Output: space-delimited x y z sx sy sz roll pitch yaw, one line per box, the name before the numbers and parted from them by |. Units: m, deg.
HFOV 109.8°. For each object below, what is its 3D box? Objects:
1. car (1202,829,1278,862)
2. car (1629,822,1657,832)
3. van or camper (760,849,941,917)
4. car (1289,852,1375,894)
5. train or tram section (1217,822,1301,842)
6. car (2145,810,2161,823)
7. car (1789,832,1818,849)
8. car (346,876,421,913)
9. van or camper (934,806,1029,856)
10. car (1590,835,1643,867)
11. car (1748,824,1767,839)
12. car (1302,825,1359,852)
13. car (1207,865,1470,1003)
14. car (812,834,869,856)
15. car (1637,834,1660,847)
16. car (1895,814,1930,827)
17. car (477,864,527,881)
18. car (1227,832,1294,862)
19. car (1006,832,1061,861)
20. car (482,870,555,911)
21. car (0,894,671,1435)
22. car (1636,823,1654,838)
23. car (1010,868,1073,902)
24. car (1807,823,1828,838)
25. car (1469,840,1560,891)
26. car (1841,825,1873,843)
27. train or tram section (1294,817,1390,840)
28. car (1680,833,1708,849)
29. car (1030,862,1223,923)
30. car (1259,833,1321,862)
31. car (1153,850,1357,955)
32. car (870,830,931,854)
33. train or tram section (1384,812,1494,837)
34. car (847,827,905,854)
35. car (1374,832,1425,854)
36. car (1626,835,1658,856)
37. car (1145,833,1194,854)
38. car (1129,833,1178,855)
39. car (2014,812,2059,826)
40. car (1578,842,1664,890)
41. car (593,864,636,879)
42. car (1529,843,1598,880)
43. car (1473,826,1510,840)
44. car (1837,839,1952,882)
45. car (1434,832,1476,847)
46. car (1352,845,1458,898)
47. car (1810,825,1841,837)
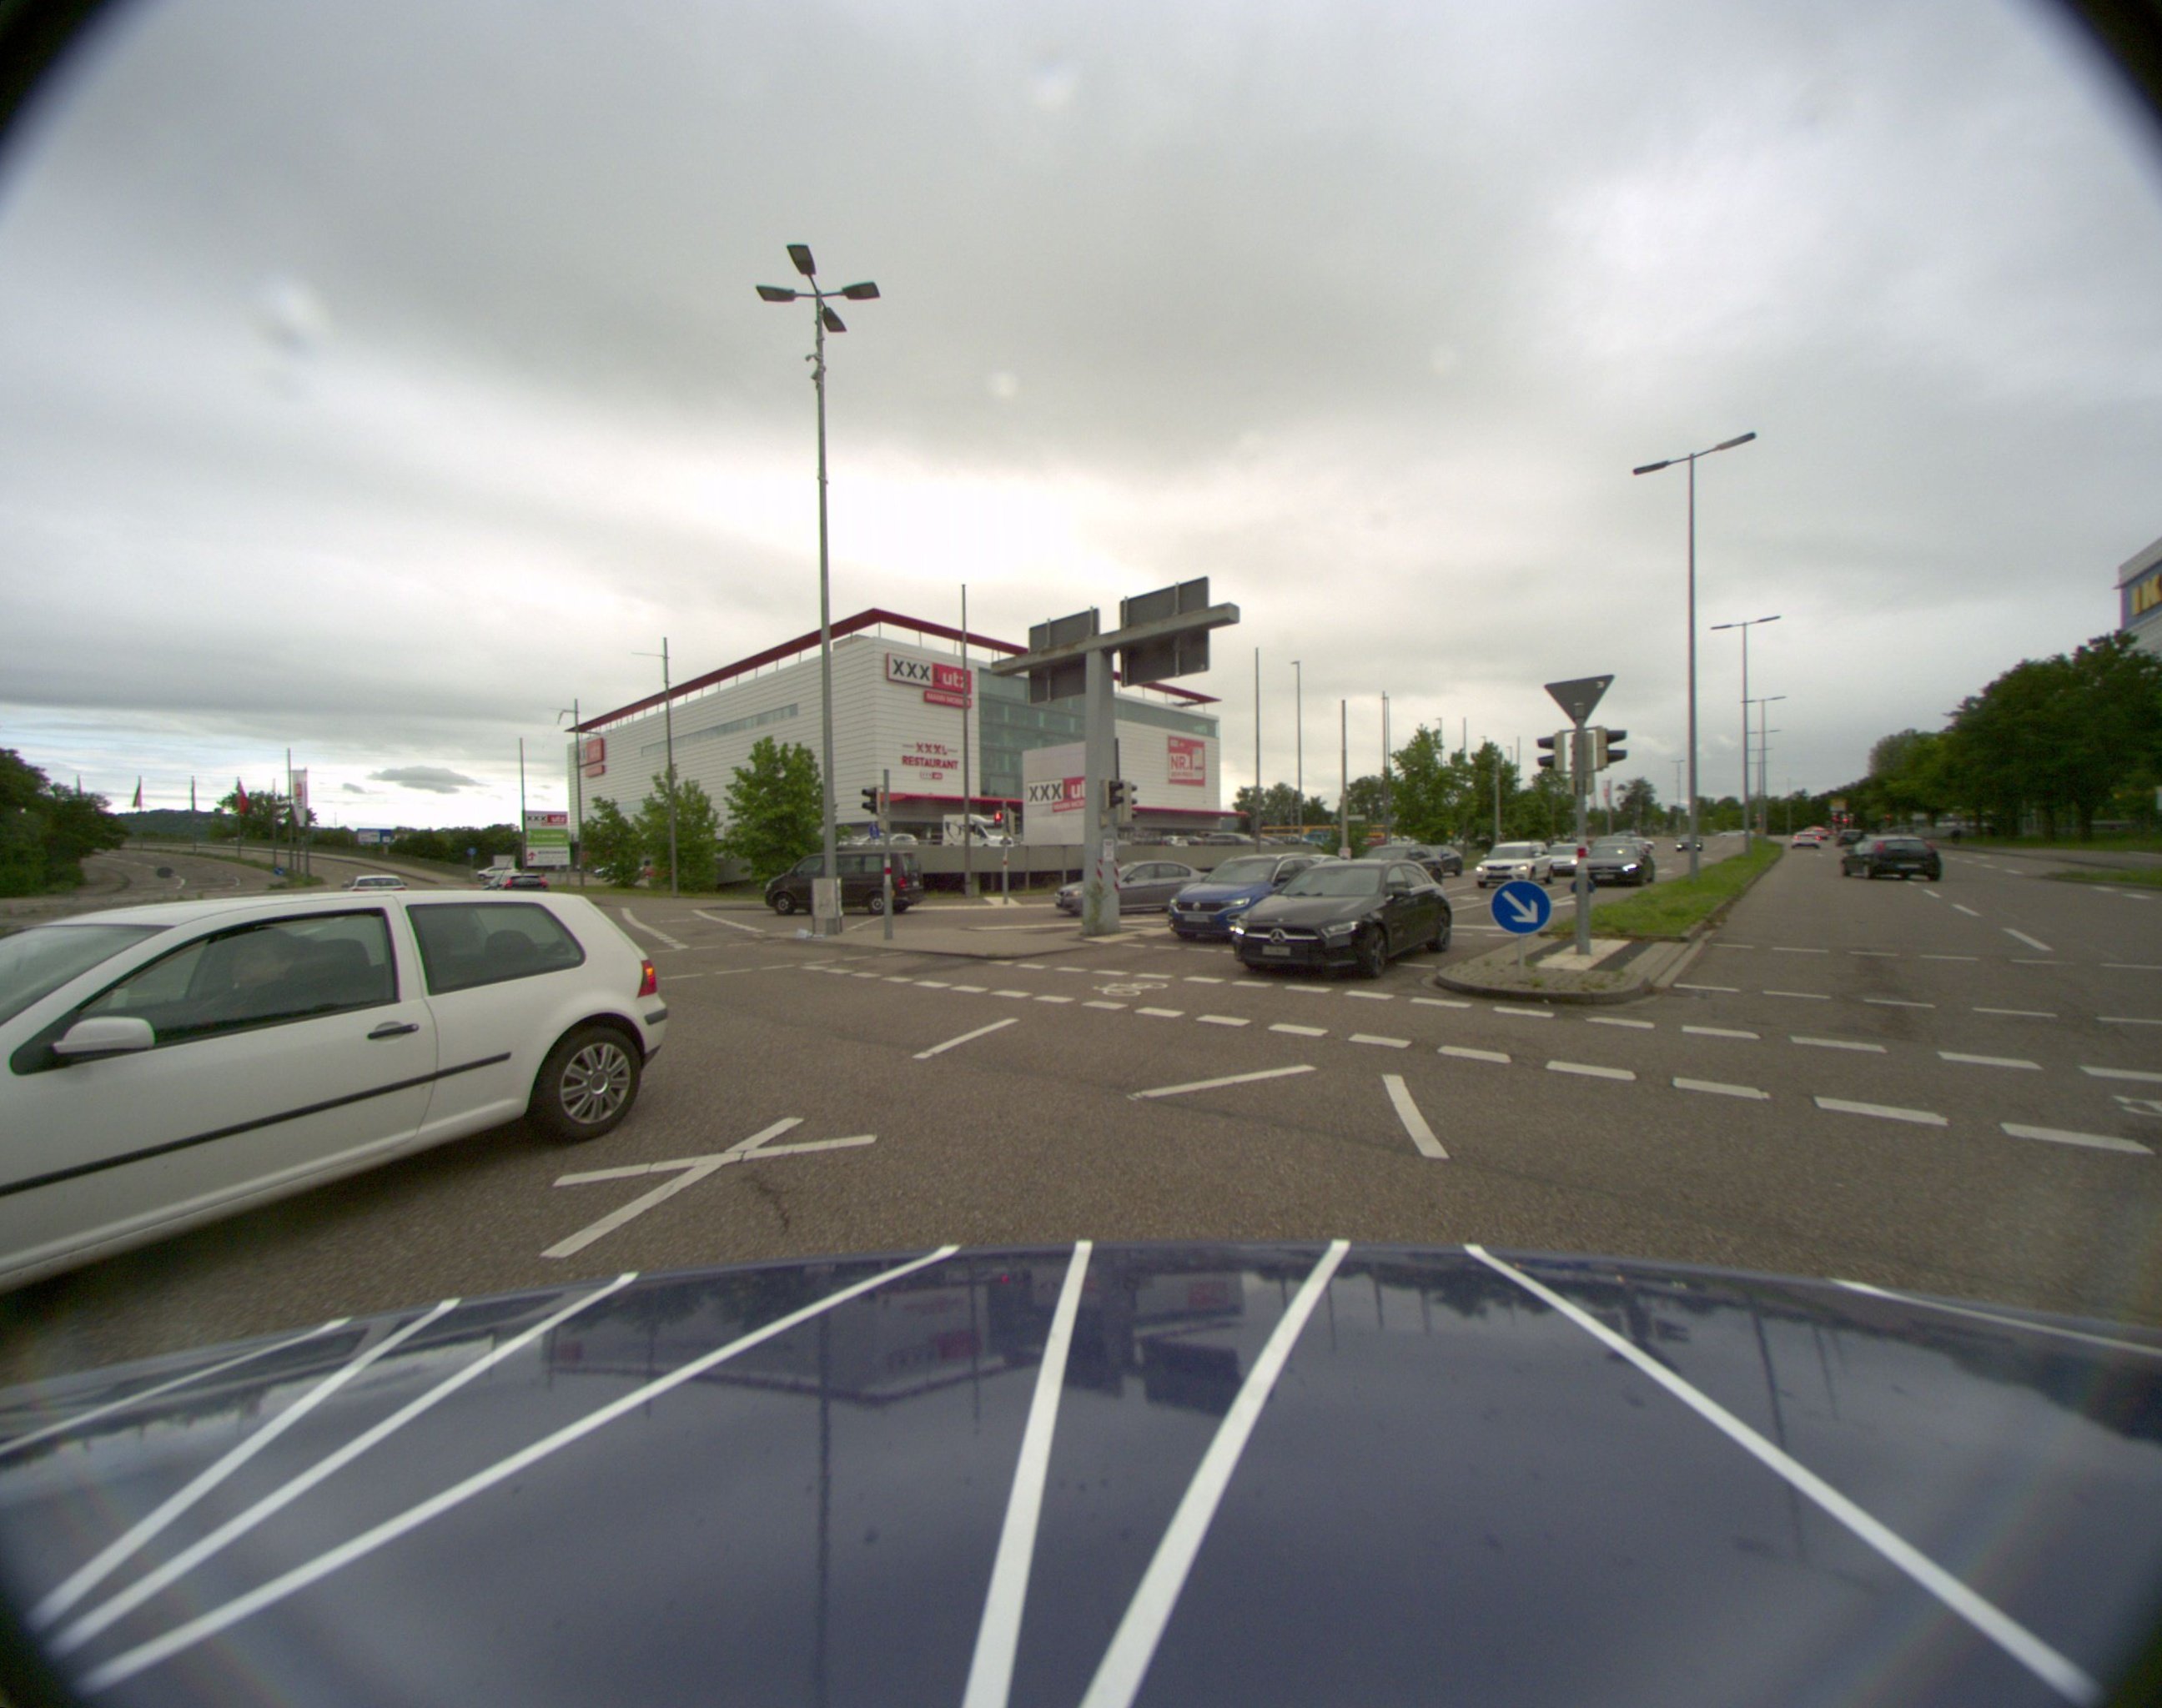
car | 10.727 -0.547 51.346 4.520 2.002 2.004 -3 1 41
car | 121.045 -5.828 163.656 4.659 2.002 2.004 -3 1 41
van or camper | -7.104 0.884 23.746 4.936 2.002 2.166 0 0 7
car | 9.796 0.707 29.511 1.690 1.364 3.934 -3 0 41
train or tram section | 48.787 -5.986 209.943 23.221 4.811 3.639 -1 1 40
car | 158.706 -5.479 110.615 3.989 1.805 2.004 -3 1 36
car | 64.566 -1.253 67.908 1.782 1.444 3.941 1 2 44
car | -28.166 1.625 30.801 1.839 1.401 4.187 2 -4 -38
van or camper | -7.248 -1.590 54.672 7.217 3.117 2.720 -3 1 43
car | 29.617 -0.174 41.976 1.798 1.565 4.227 -3 1 43
car | 100.159 -3.287 112.553 1.994 2.207 4.008 0 1 40
car | 20.645 -1.237 62.959 3.989 2.002 2.004 -3 1 41
car | 3.763 0.948 10.653 1.855 1.426 4.205 -3 -1 43
car | -20.742 -0.765 65.672 1.772 1.666 4.268 -3 1 43
car | 69.564 -1.611 93.110 1.798 1.407 4.227 -3 0 43
car | 149.009 -6.038 136.273 3.989 2.002 2.004 -3 1 41
car | -63.938 2.025 83.933 4.205 1.601 1.718 -3 0 -42
car | 12.655 -0.493 53.645 3.989 1.838 2.004 -3 1 41
car | -3.628 -0.555 57.639 3.858 1.936 1.873 -3 1 40
car | -24.329 1.593 32.821 1.909 1.440 4.170 -3 -2 -45
car | -4.039 1.062 3.034 1.835 1.469 4.009 -3 0 17
car | 89.543 -3.717 120.609 1.994 2.230 4.008 0 1 40
car | -2.668 2.105 52.115 1.995 2.002 4.007 -3 1 39
car | 103.294 -3.333 106.544 1.843 1.875 3.932 -3 0 41
car | 15.925 0.396 27.811 1.795 1.615 4.382 -3 1 44
car | 75.752 -1.998 74.220 1.843 1.646 4.369 2 3 41
train or tram section | 66.621 -6.438 195.012 23.221 4.811 3.639 -1 1 40
car | 59.786 -1.251 74.066 1.798 1.407 4.227 -3 0 43
car | 1.238 0.986 20.566 4.882 1.402 1.815 -1 -1 -22
car | 15.928 -0.483 57.862 3.989 2.002 2.004 -3 1 41
car | 3.527 0.838 14.889 1.843 1.612 4.340 -3 1 44
car | -14.018 -0.977 59.102 1.772 1.666 4.268 -3 1 43
train or tram section | 84.447 -6.830 180.116 23.221 4.811 3.639 -1 1 40
car | -16.608 -1.123 61.761 1.995 2.002 4.007 -2 1 45
car | 32.282 -1.088 77.045 4.315 2.002 2.004 -3 1 41
car | 41.116 -0.644 55.750 1.798 1.407 4.227 -3 0 35
car | 8.328 -0.989 71.595 3.989 1.729 2.004 -3 1 41
car | 6.643 -0.926 69.513 3.989 1.729 2.004 -3 1 41
car | 131.069 -4.842 104.298 3.557 1.630 1.747 -3 1 40
car | 18.451 0.384 25.870 1.764 1.370 4.267 -3 0 43
car | -57.595 2.129 93.829 1.718 1.600 4.206 -3 0 40
car | 21.659 0.300 34.048 1.798 1.407 4.227 -3 0 43
car | 55.242 -2.806 102.176 3.989 1.556 1.800 -3 1 43
car | 28.065 0.175 26.378 1.722 1.363 4.008 0 1 32
car | 43.796 -1.659 88.945 3.989 1.556 1.800 -3 1 43
car | 11.636 0.584 27.132 4.382 1.615 1.795 -3 1 -43
car | 131.935 -4.134 134.663 3.914 1.876 1.851 -1 4 42
